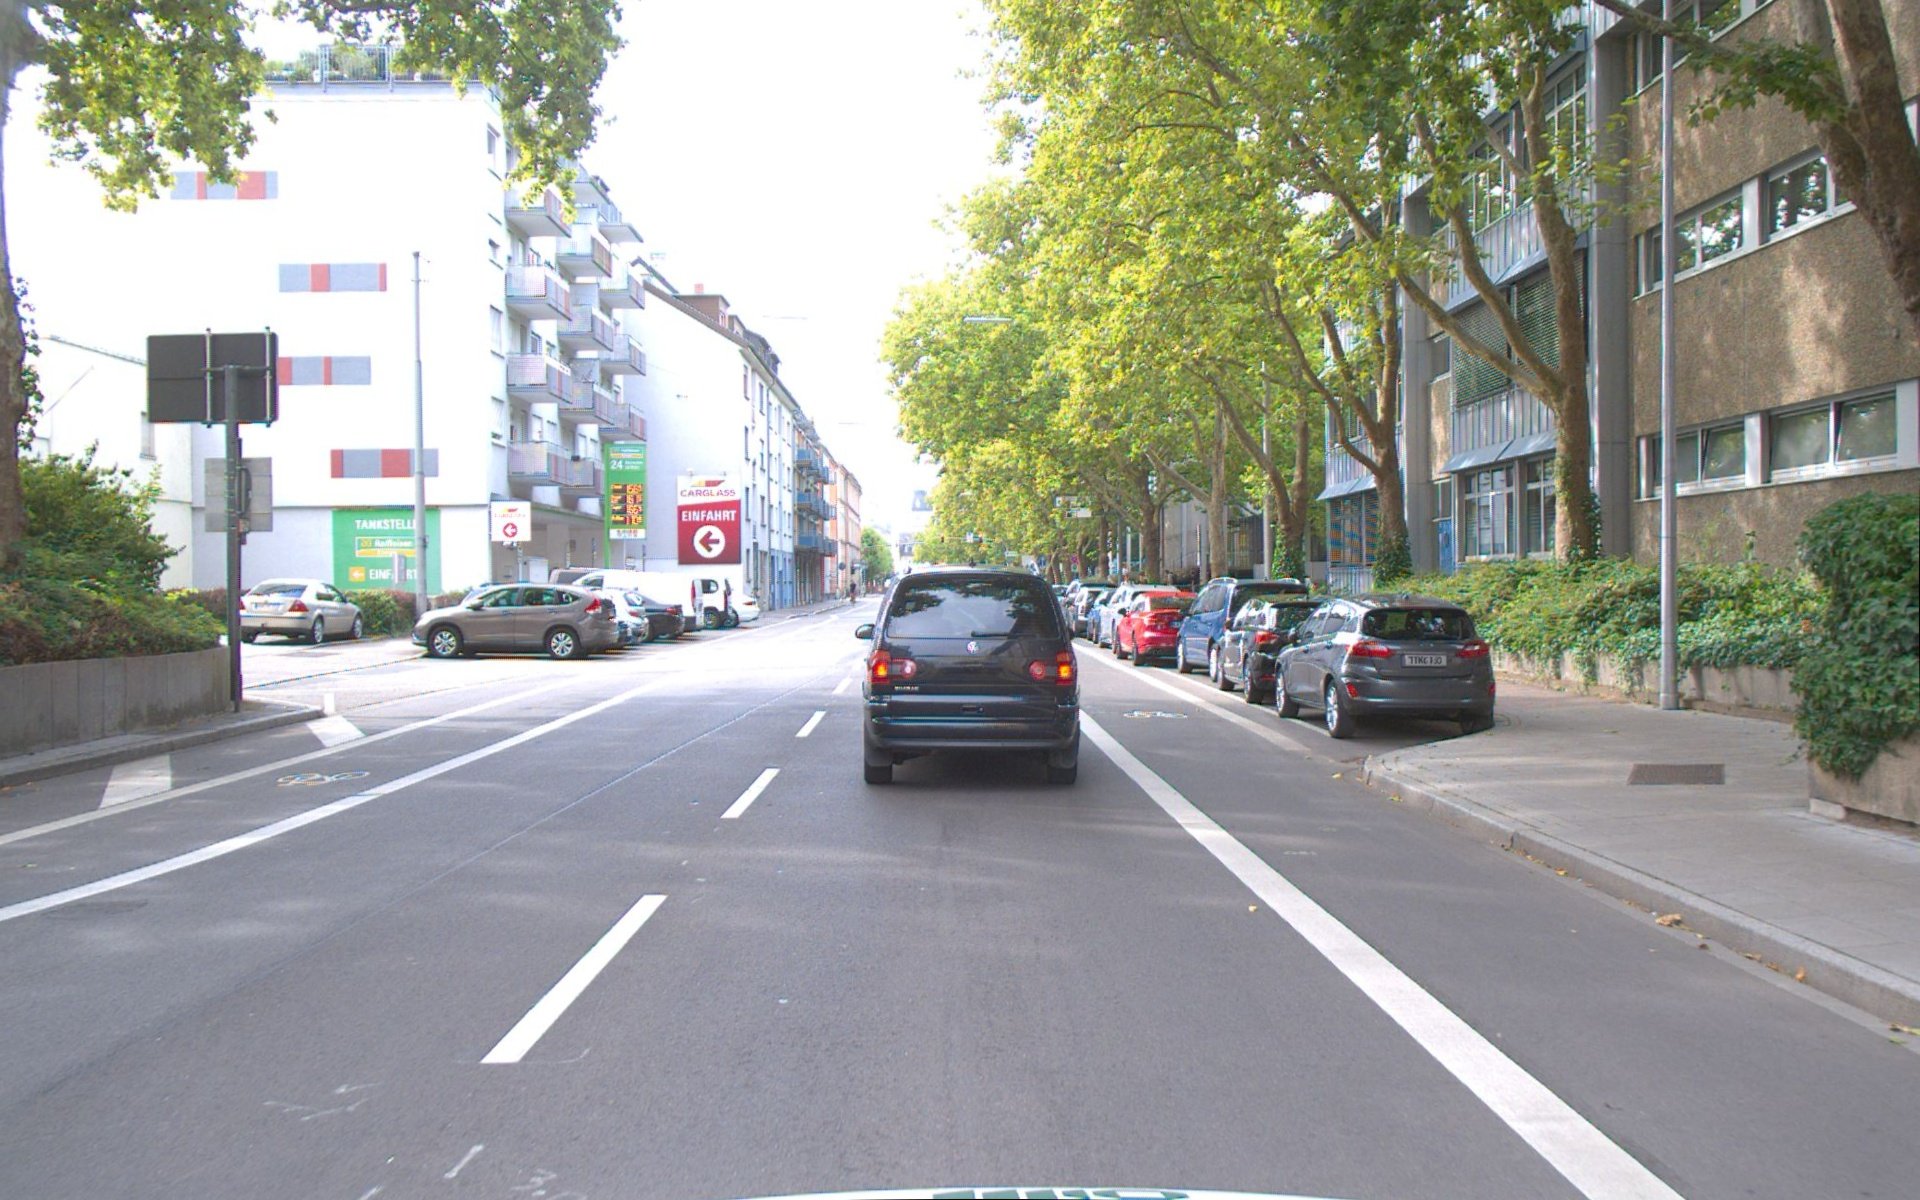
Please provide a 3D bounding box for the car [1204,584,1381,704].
[{"bbox_3d":[4.605,0.550,23.403,1.624,1.446,3.946,-1,2,-1],"label":"car"}]

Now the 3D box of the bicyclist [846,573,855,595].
[{"bbox_3d":[-8.126,-1.203,123.157,0.640,1.639,0.655,1,-2,-4],"label":"bicyclist"}]

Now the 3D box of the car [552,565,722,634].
[{"bbox_3d":[-9.889,-0.028,50.903,4.817,1.936,2.000,2,1,-2],"label":"car"}]

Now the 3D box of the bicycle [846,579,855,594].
[{"bbox_3d":[-8.113,-1.018,122.989,0.618,1.052,2.013,0,-2,-3],"label":"bicycle"}]

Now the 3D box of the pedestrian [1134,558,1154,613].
[{"bbox_3d":[6.874,-0.539,61.796,0.629,2.009,0.692,1,2,0],"label":"pedestrian"}]

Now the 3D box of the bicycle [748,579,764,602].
[{"bbox_3d":[-9.721,-0.462,78.905,0.618,1.052,2.014,1,1,-4],"label":"bicycle"}]

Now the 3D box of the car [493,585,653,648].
[{"bbox_3d":[-9.678,0.401,41.551,3.608,1.451,1.753,1,1,-2],"label":"car"}]

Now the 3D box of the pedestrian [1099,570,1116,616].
[{"bbox_3d":[5.545,-0.271,62.205,0.575,1.731,0.508,1,2,0],"label":"pedestrian"}]

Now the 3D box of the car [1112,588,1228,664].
[{"bbox_3d":[4.154,0.476,33.356,1.642,1.418,4.459,0,1,-2],"label":"car"}]

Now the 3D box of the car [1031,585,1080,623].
[{"bbox_3d":[3.862,0.149,67.479,1.641,1.418,4.461,1,1,-1],"label":"car"}]

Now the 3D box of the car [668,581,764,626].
[{"bbox_3d":[-8.829,0.117,60.025,3.276,1.523,1.595,1,0,-3],"label":"car"}]

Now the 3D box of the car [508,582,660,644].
[{"bbox_3d":[-9.880,0.330,43.665,3.608,1.511,1.753,1,1,-2],"label":"car"}]

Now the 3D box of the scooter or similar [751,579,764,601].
[{"bbox_3d":[-9.944,-0.499,81.149,0.619,1.052,2.012,-1,1,-7],"label":"scooter or similar"}]

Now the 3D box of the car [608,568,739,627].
[{"bbox_3d":[-9.921,-0.088,57.540,4.221,1.902,1.823,1,0,-3],"label":"car"}]

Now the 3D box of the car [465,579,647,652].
[{"bbox_3d":[-9.623,0.353,39.547,3.859,1.597,1.754,2,1,1],"label":"car"}]

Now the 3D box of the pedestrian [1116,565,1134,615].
[{"bbox_3d":[6.218,-0.386,62.284,0.575,1.870,0.692,1,2,0],"label":"pedestrian"}]

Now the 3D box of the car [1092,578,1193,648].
[{"bbox_3d":[4.224,0.270,39.013,1.693,1.543,4.870,0,1,-2],"label":"car"}]

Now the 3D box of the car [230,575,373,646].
[{"bbox_3d":[-15.533,0.202,39.233,1.722,1.545,4.234,1,1,-1],"label":"car"}]

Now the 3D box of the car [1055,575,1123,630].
[{"bbox_3d":[4.182,0.041,54.197,1.635,1.669,4.502,2,1,-3],"label":"car"}]

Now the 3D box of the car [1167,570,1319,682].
[{"bbox_3d":[4.756,0.374,28.407,1.624,1.679,4.418,1,2,-3],"label":"car"}]

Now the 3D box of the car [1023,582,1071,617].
[{"bbox_3d":[3.761,-0.044,71.818,1.609,1.438,3.413,1,1,-5],"label":"car"}]

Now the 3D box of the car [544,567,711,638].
[{"bbox_3d":[-9.669,0.060,48.335,4.434,1.911,2.047,1,1,0],"label":"car"}]

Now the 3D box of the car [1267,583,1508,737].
[{"bbox_3d":[4.665,0.582,18.567,1.624,1.446,3.866,-1,2,-1],"label":"car"}]

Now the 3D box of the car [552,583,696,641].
[{"bbox_3d":[-9.259,0.326,45.769,3.607,1.470,1.753,1,1,-2],"label":"car"}]

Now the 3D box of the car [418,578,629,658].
[{"bbox_3d":[-9.696,0.380,36.937,4.169,1.633,1.968,1,2,0],"label":"car"}]

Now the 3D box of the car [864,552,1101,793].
[{"bbox_3d":[0.115,0.528,14.260,1.776,1.797,3.737,0,0,-2],"label":"car"}]

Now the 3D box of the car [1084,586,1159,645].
[{"bbox_3d":[4.276,0.385,44.195,1.588,1.410,4.000,2,1,0],"label":"car"}]

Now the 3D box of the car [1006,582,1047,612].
[{"bbox_3d":[3.327,-0.156,83.352,1.609,1.438,3.413,1,1,-5],"label":"car"}]

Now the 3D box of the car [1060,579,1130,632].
[{"bbox_3d":[3.972,0.139,49.083,1.597,1.495,4.316,0,1,-2],"label":"car"}]
